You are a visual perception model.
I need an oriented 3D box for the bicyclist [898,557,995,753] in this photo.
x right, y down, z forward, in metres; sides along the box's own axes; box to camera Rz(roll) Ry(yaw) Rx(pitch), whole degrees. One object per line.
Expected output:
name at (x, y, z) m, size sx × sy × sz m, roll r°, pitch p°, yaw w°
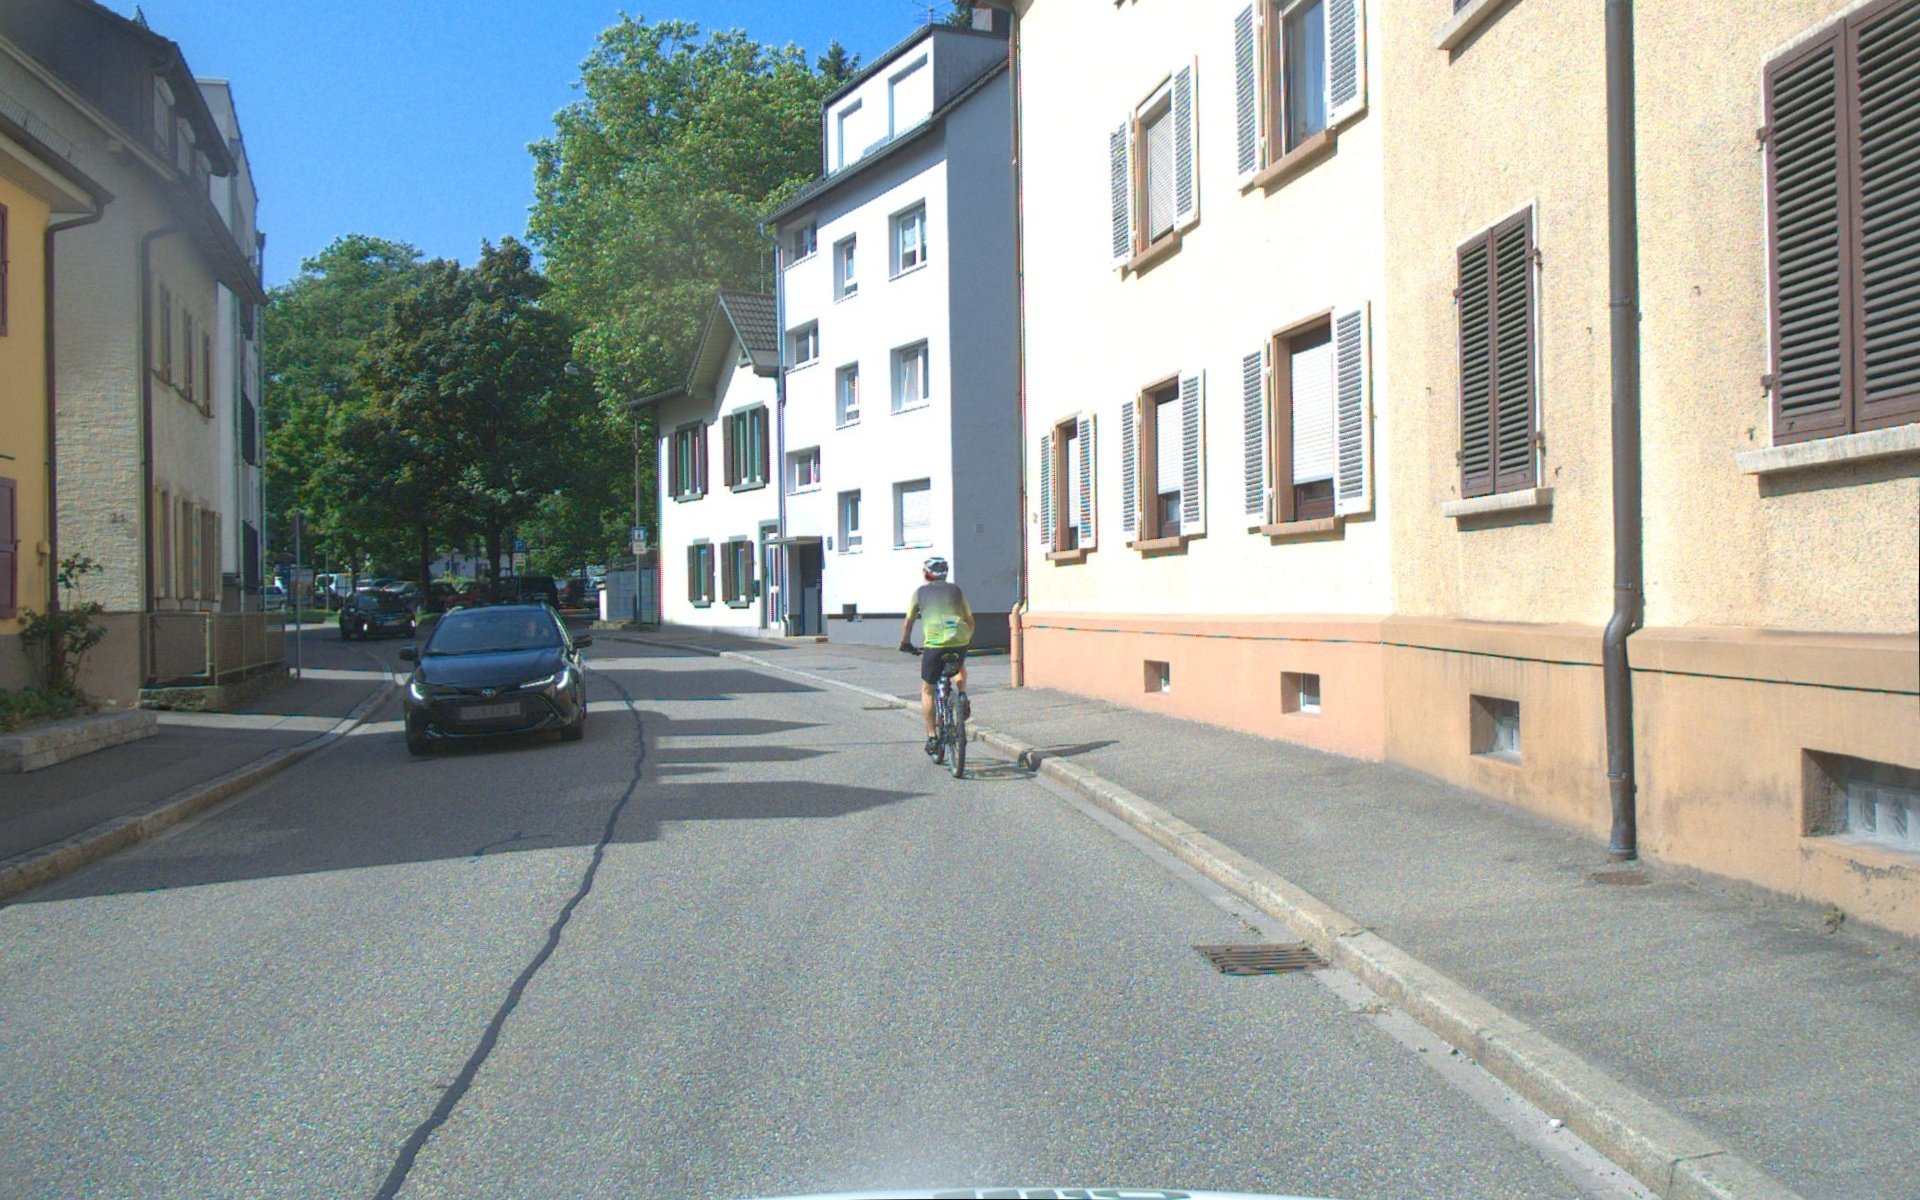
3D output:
bicyclist at (-0.122, 0.440, 13.724) m, size 0.673 × 1.558 × 0.714 m, roll -2°, pitch 0°, yaw -9°

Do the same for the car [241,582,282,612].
car at (-37.804, -0.189, 89.478) m, size 1.724 × 1.579 × 3.720 m, roll -1°, pitch 1°, yaw -27°

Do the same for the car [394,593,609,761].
car at (-4.876, 0.726, 18.100) m, size 1.628 × 1.474 × 4.251 m, roll -4°, pitch 1°, yaw -8°

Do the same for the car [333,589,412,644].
car at (-19.122, 0.524, 53.777) m, size 1.803 × 1.563 × 3.964 m, roll -5°, pitch 2°, yaw -27°

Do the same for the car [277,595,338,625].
car at (-33.691, 0.491, 85.374) m, size 3.350 × 1.493 × 1.668 m, roll 0°, pitch 1°, yaw 42°

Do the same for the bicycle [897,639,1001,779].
bicycle at (-0.117, 0.881, 13.787) m, size 0.685 × 1.053 × 1.469 m, roll 0°, pitch 0°, yaw -8°

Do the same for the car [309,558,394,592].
car at (-35.372, -1.445, 96.297) m, size 1.953 × 1.887 × 4.700 m, roll 0°, pitch 1°, yaw 22°

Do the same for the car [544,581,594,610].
car at (-18.532, -0.212, 78.259) m, size 1.562 × 1.279 × 3.828 m, roll -2°, pitch 1°, yaw -24°

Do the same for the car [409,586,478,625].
car at (-23.285, 0.228, 74.506) m, size 1.696 × 1.569 × 3.947 m, roll -2°, pitch 3°, yaw -37°

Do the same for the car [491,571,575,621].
car at (-16.786, -0.196, 64.969) m, size 1.809 × 1.822 × 3.947 m, roll -2°, pitch 3°, yaw -37°
